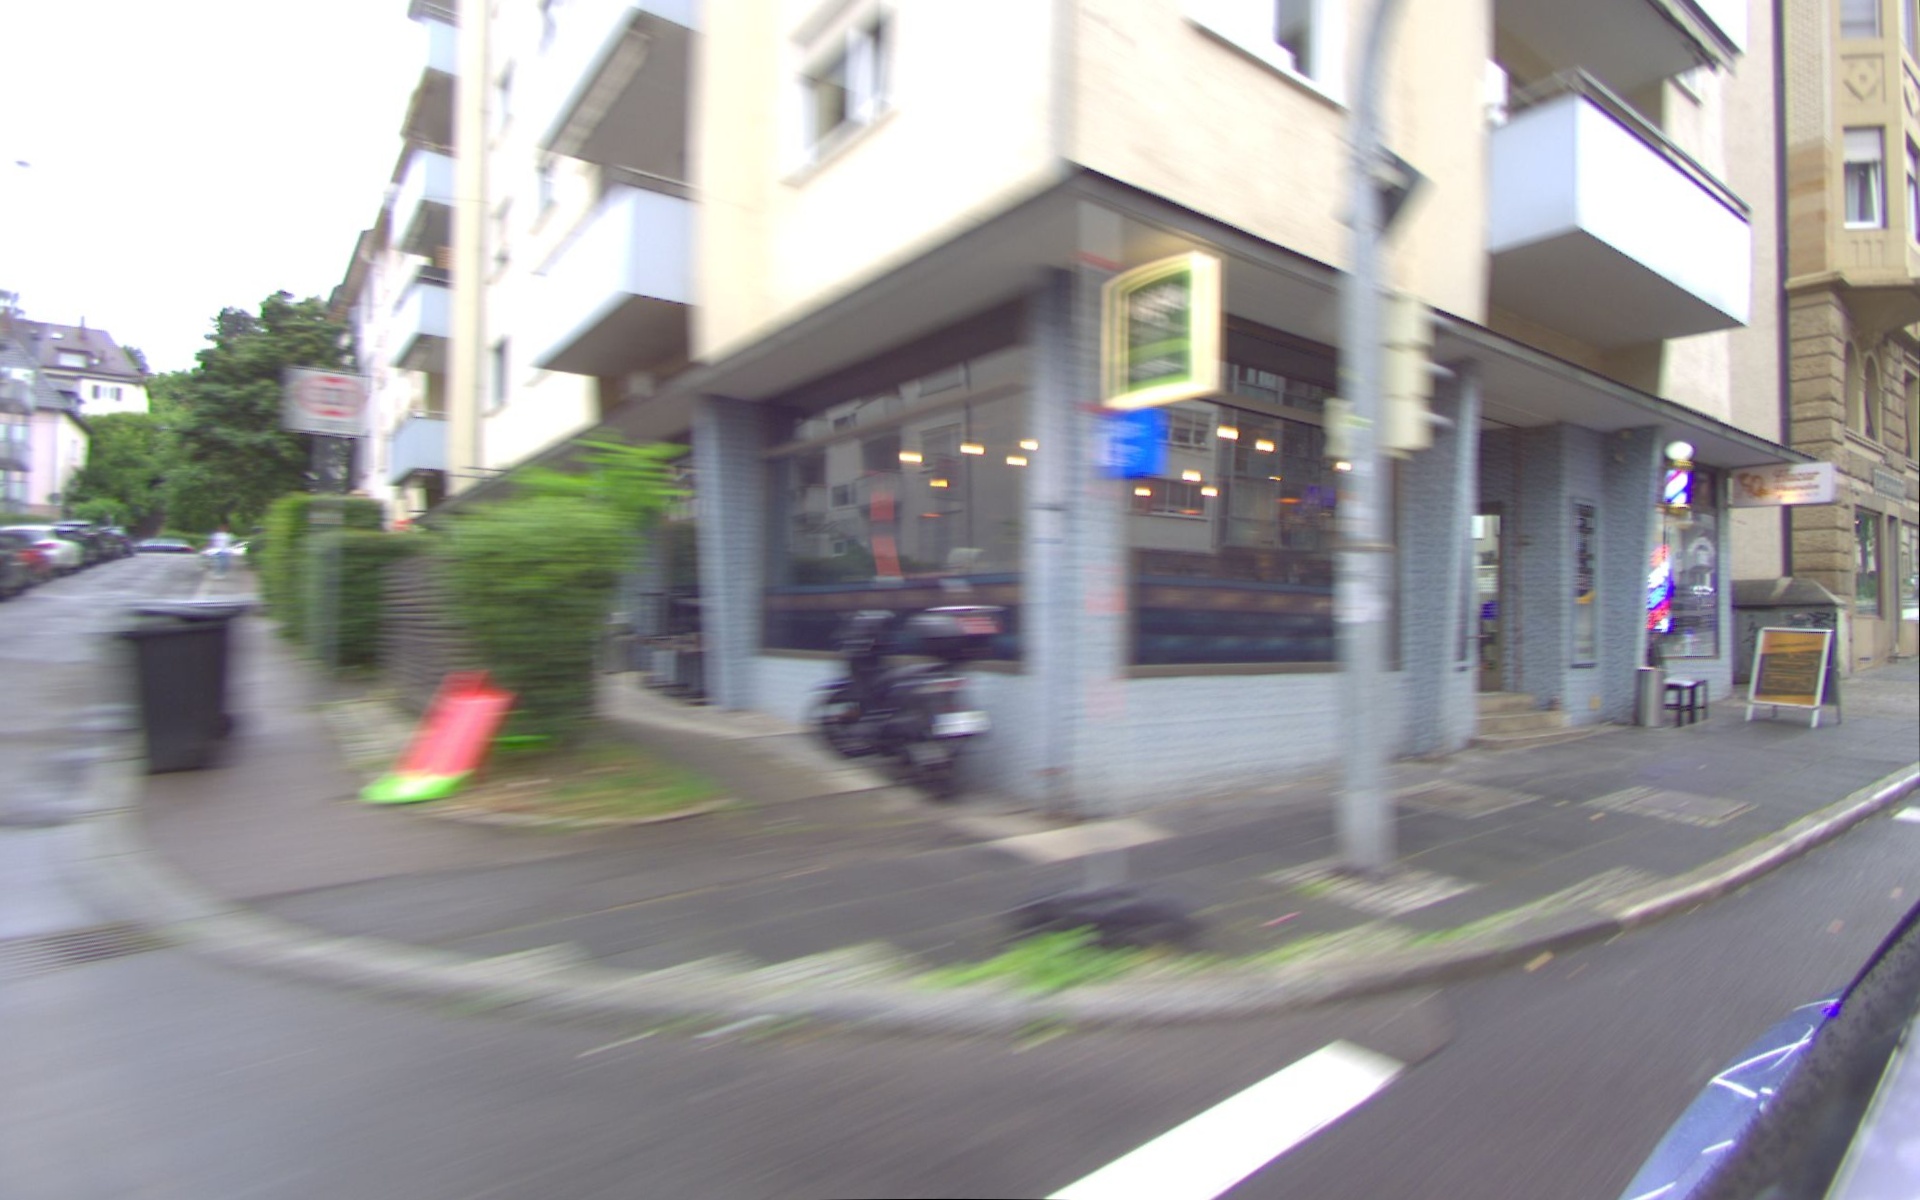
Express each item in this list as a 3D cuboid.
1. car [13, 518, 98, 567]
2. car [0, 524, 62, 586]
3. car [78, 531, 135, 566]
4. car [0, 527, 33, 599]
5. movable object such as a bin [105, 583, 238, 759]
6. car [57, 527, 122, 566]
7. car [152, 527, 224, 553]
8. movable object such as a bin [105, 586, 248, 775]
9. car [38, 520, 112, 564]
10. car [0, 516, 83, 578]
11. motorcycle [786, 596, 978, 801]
[{"bbox_3d":[-31.154,-1.930,34.949,1.784,1.565,4.064,-1,2,-36],"label":"car"},{"bbox_3d":[-24.857,-1.159,26.224,1.963,1.525,4.064,-1,2,-36],"label":"car"},{"bbox_3d":[-40.614,-2.435,48.222,1.784,1.565,4.064,-1,2,-36],"label":"car"},{"bbox_3d":[-21.210,-0.792,21.360,1.963,1.433,4.064,-1,2,-36],"label":"car"},{"bbox_3d":[-5.766,0.481,7.404,0.723,1.188,0.594,-2,1,-41],"label":"movable object such as a bin"},{"bbox_3d":[-37.281,-2.254,43.432,1.784,1.565,4.064,-1,2,-36],"label":"car"},{"bbox_3d":[-51.493,-4.000,67.615,3.612,1.648,1.841,0,2,-31],"label":"car"},{"bbox_3d":[-5.348,0.508,6.911,0.720,1.195,0.601,-2,1,-41],"label":"movable object such as a bin"},{"bbox_3d":[-34.230,-2.209,39.239,1.784,1.565,4.064,-1,2,-36],"label":"car"},{"bbox_3d":[-27.733,-1.548,30.233,1.963,1.712,4.064,-1,2,-36],"label":"car"},{"bbox_3d":[-0.598,0.607,7.104,0.588,1.176,1.650,-2,4,-35],"label":"motorcycle"}]
